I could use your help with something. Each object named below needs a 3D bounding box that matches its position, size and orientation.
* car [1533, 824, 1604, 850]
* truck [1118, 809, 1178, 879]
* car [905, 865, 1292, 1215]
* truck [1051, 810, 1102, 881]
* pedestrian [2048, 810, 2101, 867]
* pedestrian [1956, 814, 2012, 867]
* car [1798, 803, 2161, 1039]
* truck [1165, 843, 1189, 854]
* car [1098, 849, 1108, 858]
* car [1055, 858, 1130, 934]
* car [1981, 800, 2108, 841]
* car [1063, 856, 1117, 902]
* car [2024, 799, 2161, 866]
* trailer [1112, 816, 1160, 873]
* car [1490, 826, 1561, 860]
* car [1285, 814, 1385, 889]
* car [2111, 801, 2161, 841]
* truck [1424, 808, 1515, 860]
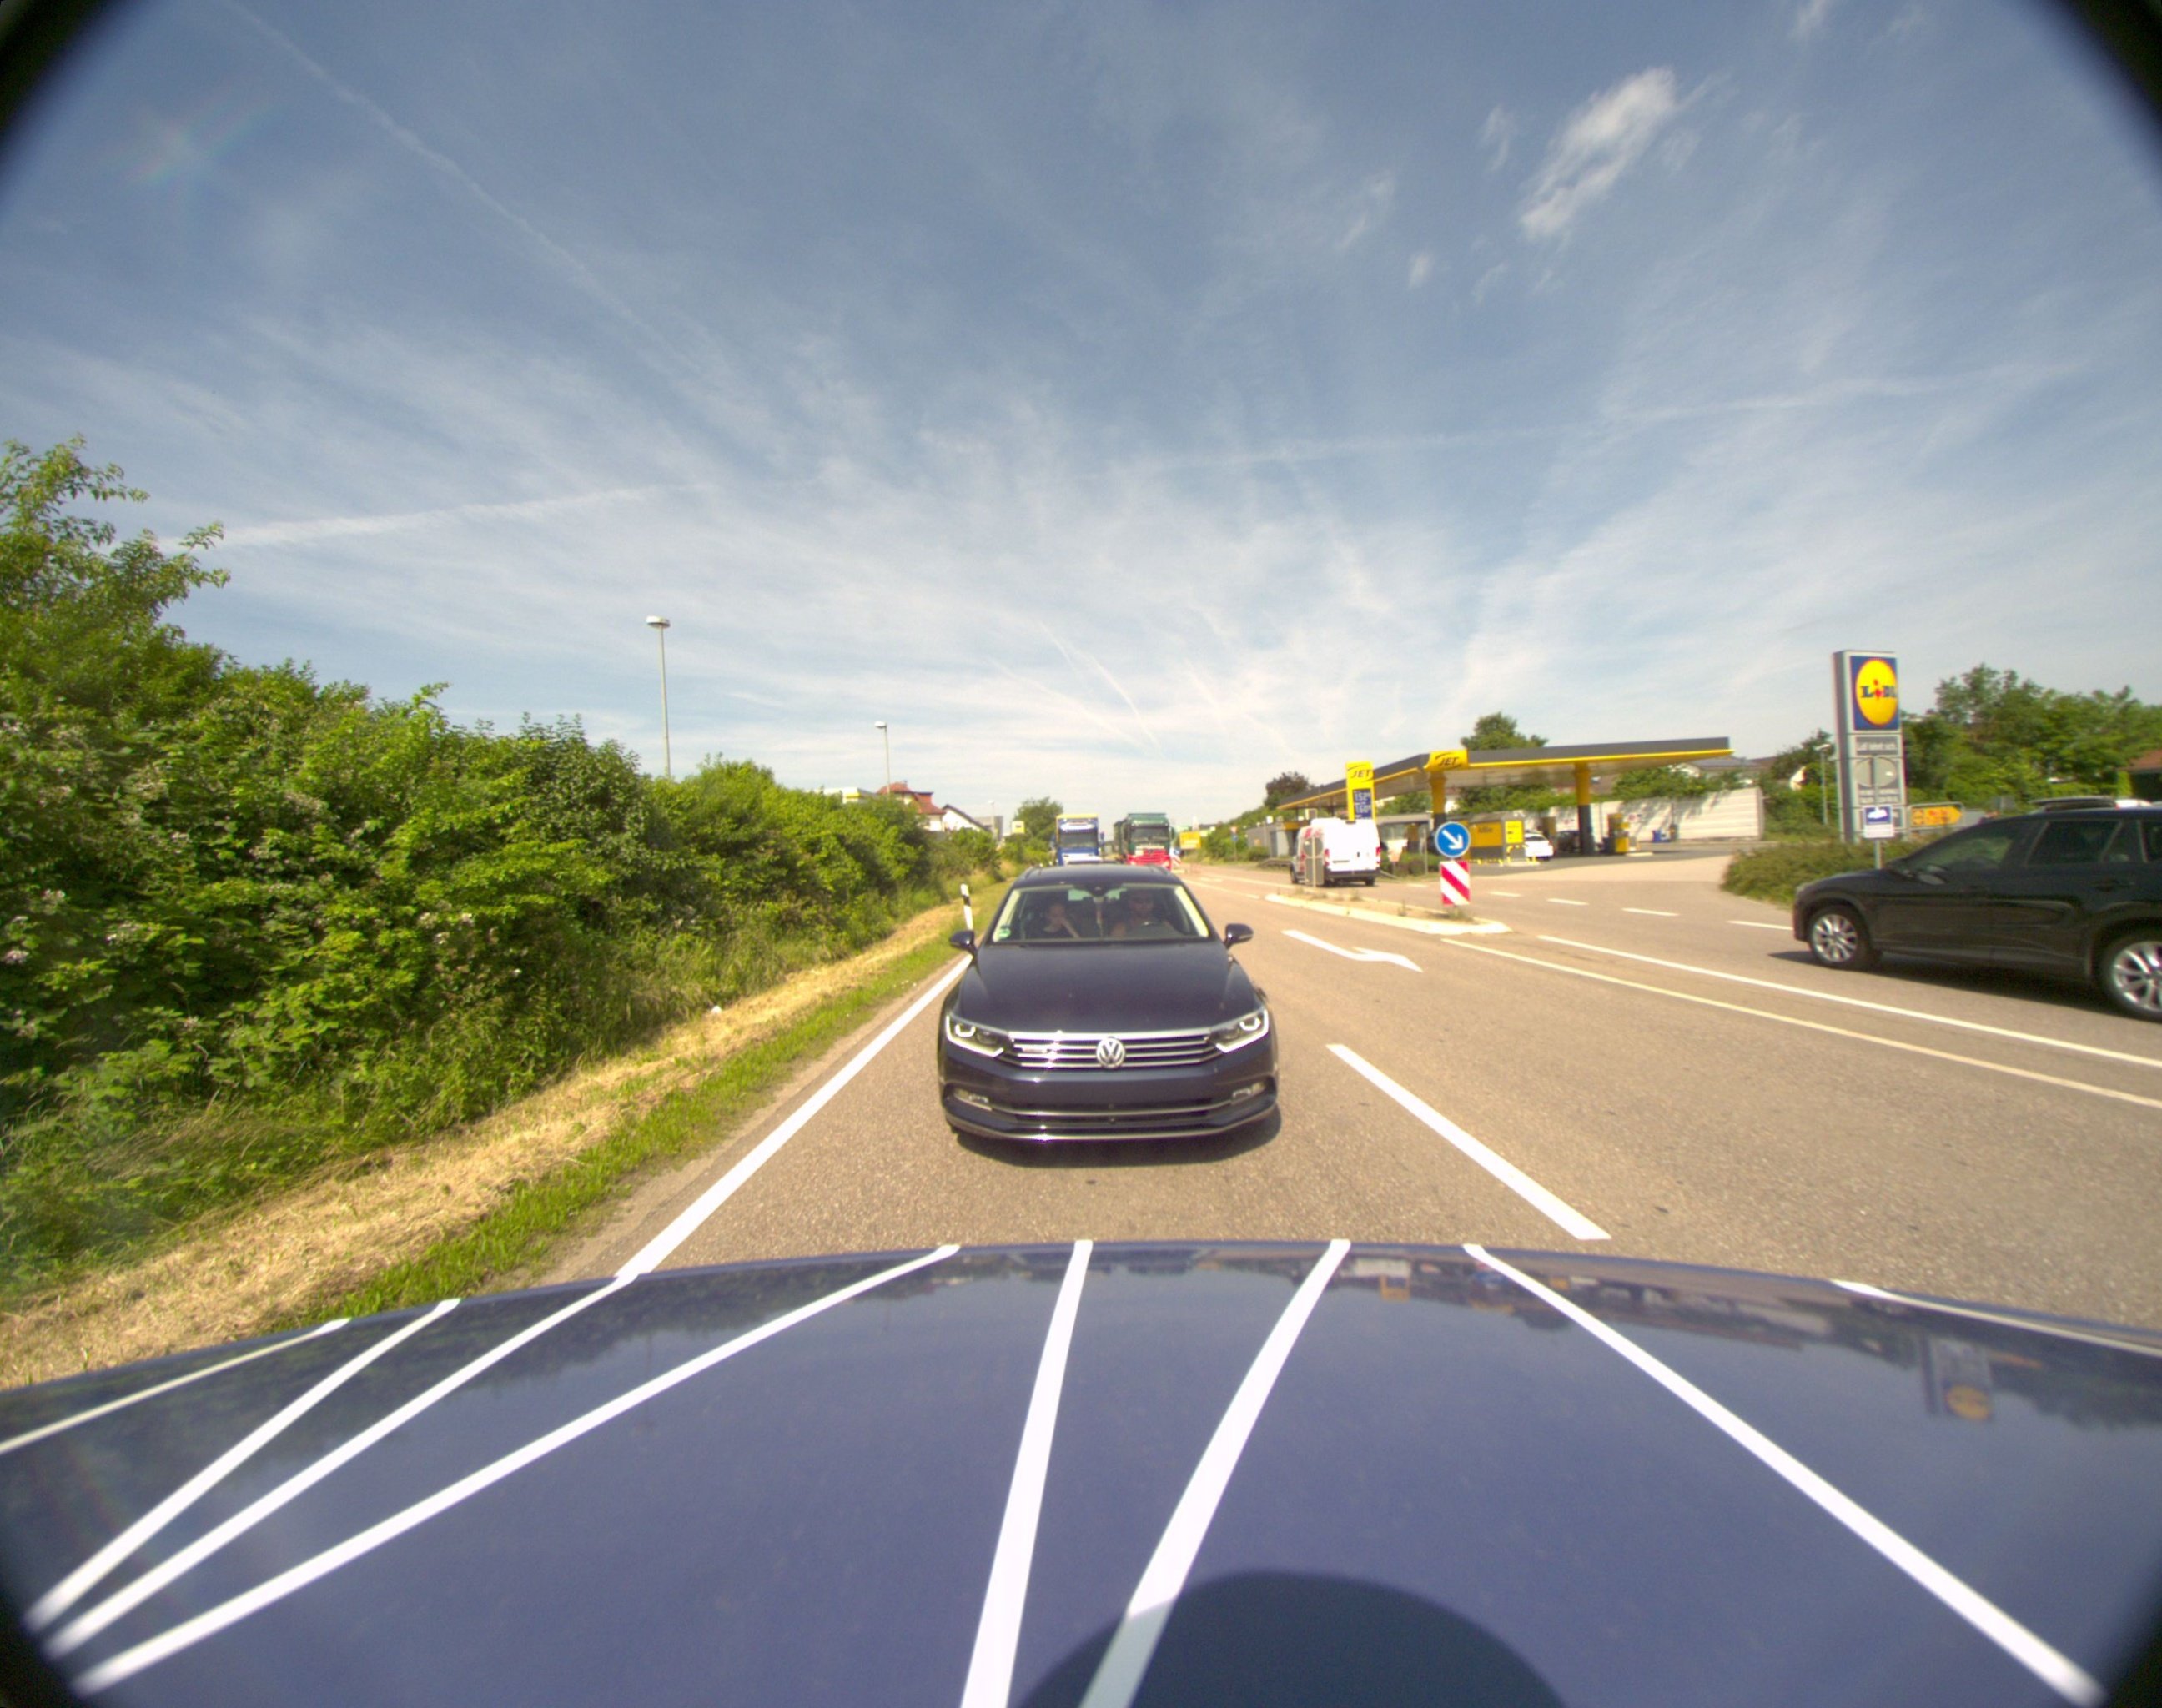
[{"bbox_3d":[32.187,-1.091,50.309,1.753,1.603,3.873,-2,0,-10],"label":"car"},{"bbox_3d":[4.081,-0.603,48.509,2.675,3.897,10.048,-2,0,-1],"label":"truck"},{"bbox_3d":[0.120,0.909,6.012,1.756,1.493,4.925,-2,0,1],"label":"car"},{"bbox_3d":[-0.170,-0.543,50.543,2.855,3.999,12.916,-2,0,1],"label":"truck"},{"bbox_3d":[28.387,-0.446,21.710,0.705,1.566,0.807,-3,2,-27],"label":"pedestrian"},{"bbox_3d":[27.316,-0.395,23.000,0.704,1.566,0.809,-2,0,2],"label":"pedestrian"},{"bbox_3d":[9.000,0.460,6.627,1.870,1.739,4.112,-2,0,6],"label":"car"},{"bbox_3d":[20.363,-1.150,161.470,4.770,1.997,2.000,-3,1,3],"label":"truck"},{"bbox_3d":[4.055,-0.049,139.421,1.819,1.626,3.893,-2,0,1],"label":"car"},{"bbox_3d":[0.266,0.867,17.383,1.471,1.451,3.797,-2,0,1],"label":"car"},{"bbox_3d":[44.454,-1.530,35.088,3.999,1.531,1.769,-3,0,-7],"label":"car"},{"bbox_3d":[0.335,0.868,28.116,1.814,1.466,3.973,-2,0,1],"label":"car"},{"bbox_3d":[30.682,-0.666,22.800,4.172,1.801,1.877,-3,1,-23],"label":"car"},{"bbox_3d":[4.037,-0.673,57.859,2.809,3.897,8.668,-2,0,-1],"label":"trailer"},{"bbox_3d":[24.237,-0.570,41.611,1.736,1.718,4.001,-1,0,3],"label":"car"},{"bbox_3d":[10.023,-0.105,30.564,2.122,2.639,5.986,-2,0,2],"label":"car"},{"bbox_3d":[44.667,-1.430,30.757,3.999,1.531,1.769,-3,0,-7],"label":"car"},{"bbox_3d":[23.845,-1.180,47.004,2.250,2.906,6.282,-2,1,-1],"label":"truck"}]
